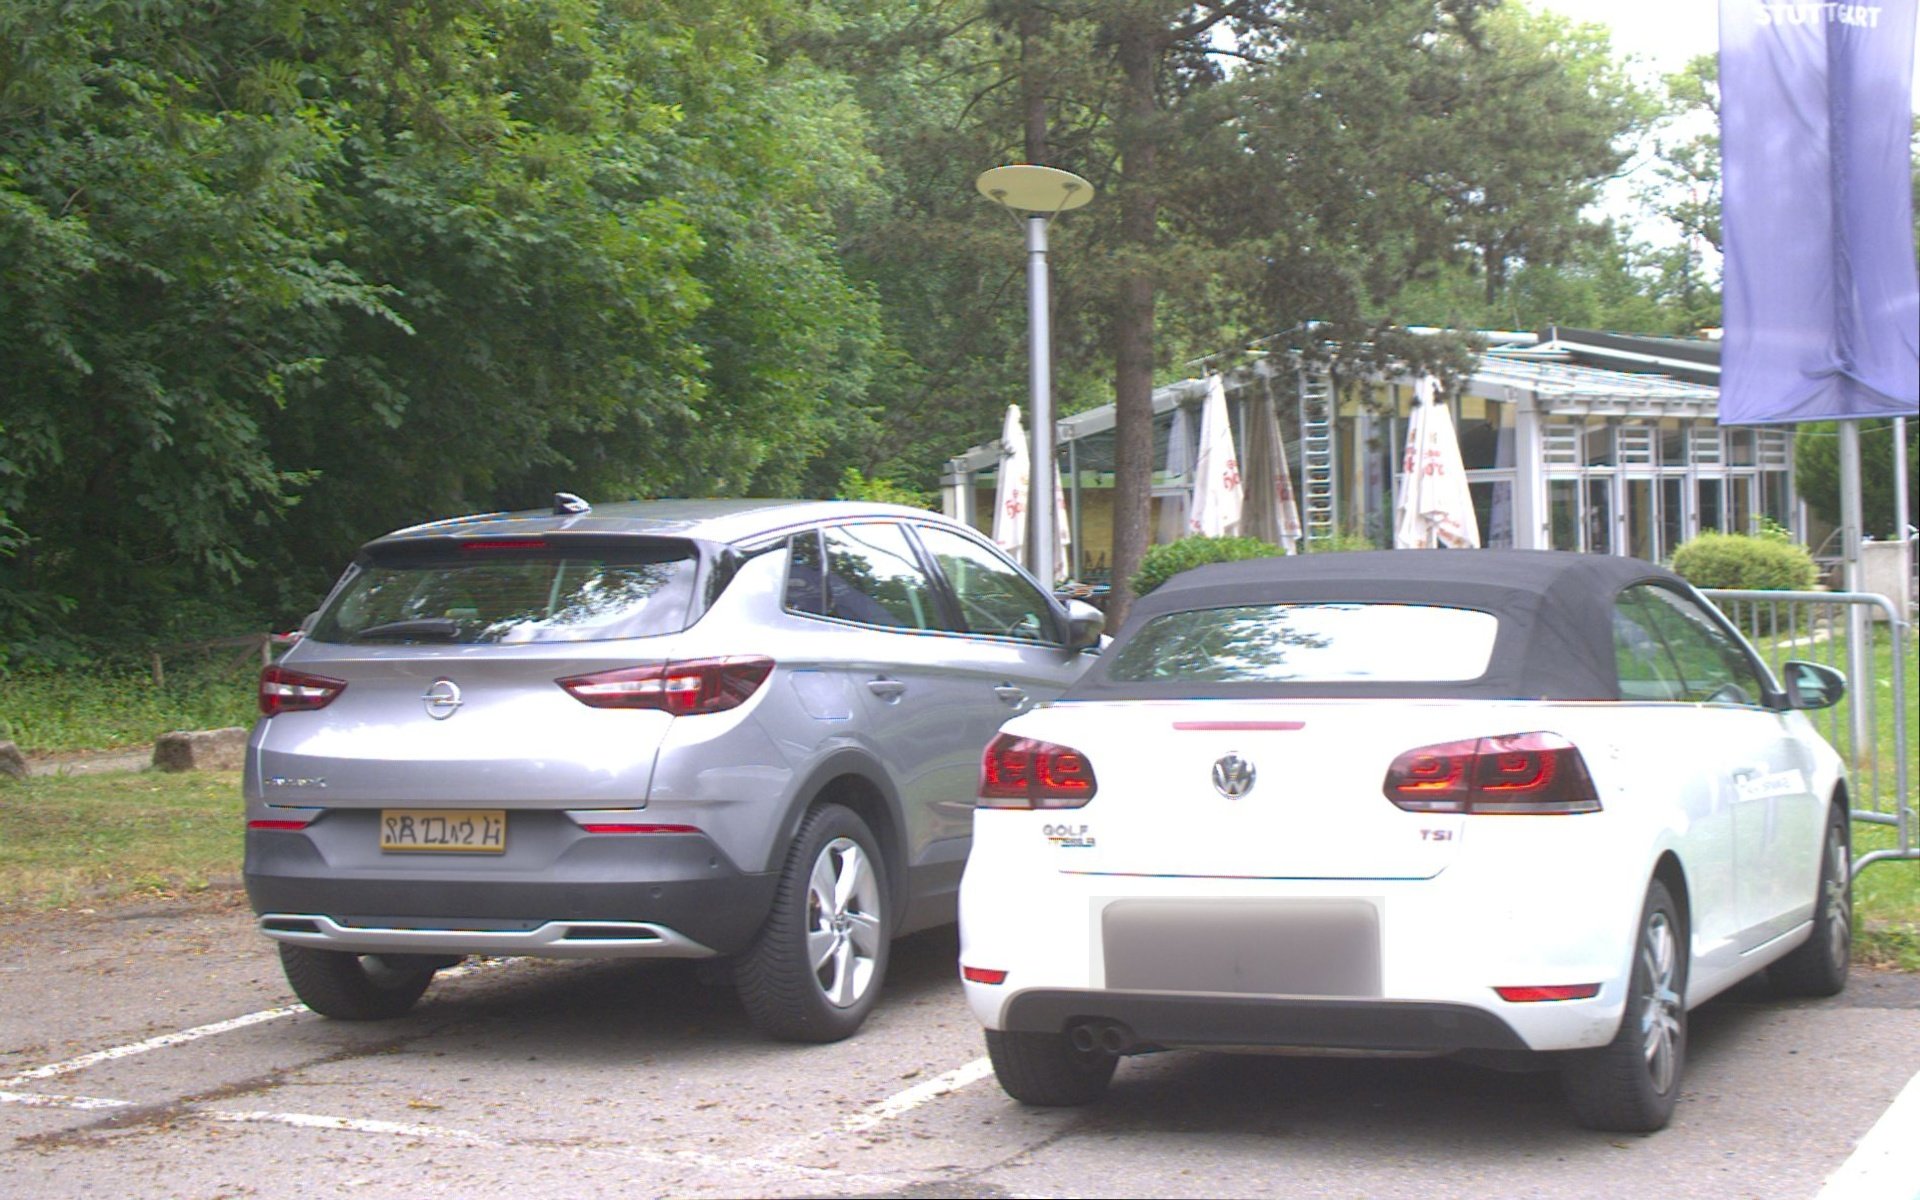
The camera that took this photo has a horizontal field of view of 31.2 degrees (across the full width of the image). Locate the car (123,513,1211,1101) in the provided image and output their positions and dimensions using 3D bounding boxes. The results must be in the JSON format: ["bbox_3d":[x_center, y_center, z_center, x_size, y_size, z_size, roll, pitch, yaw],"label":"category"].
[{"bbox_3d":[-0.745,0.519,11.447,1.895,1.579,3.995,0,1,24],"label":"car"}]

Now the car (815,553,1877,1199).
[{"bbox_3d":[1.328,0.607,9.823,1.895,1.423,3.995,0,1,24],"label":"car"}]
